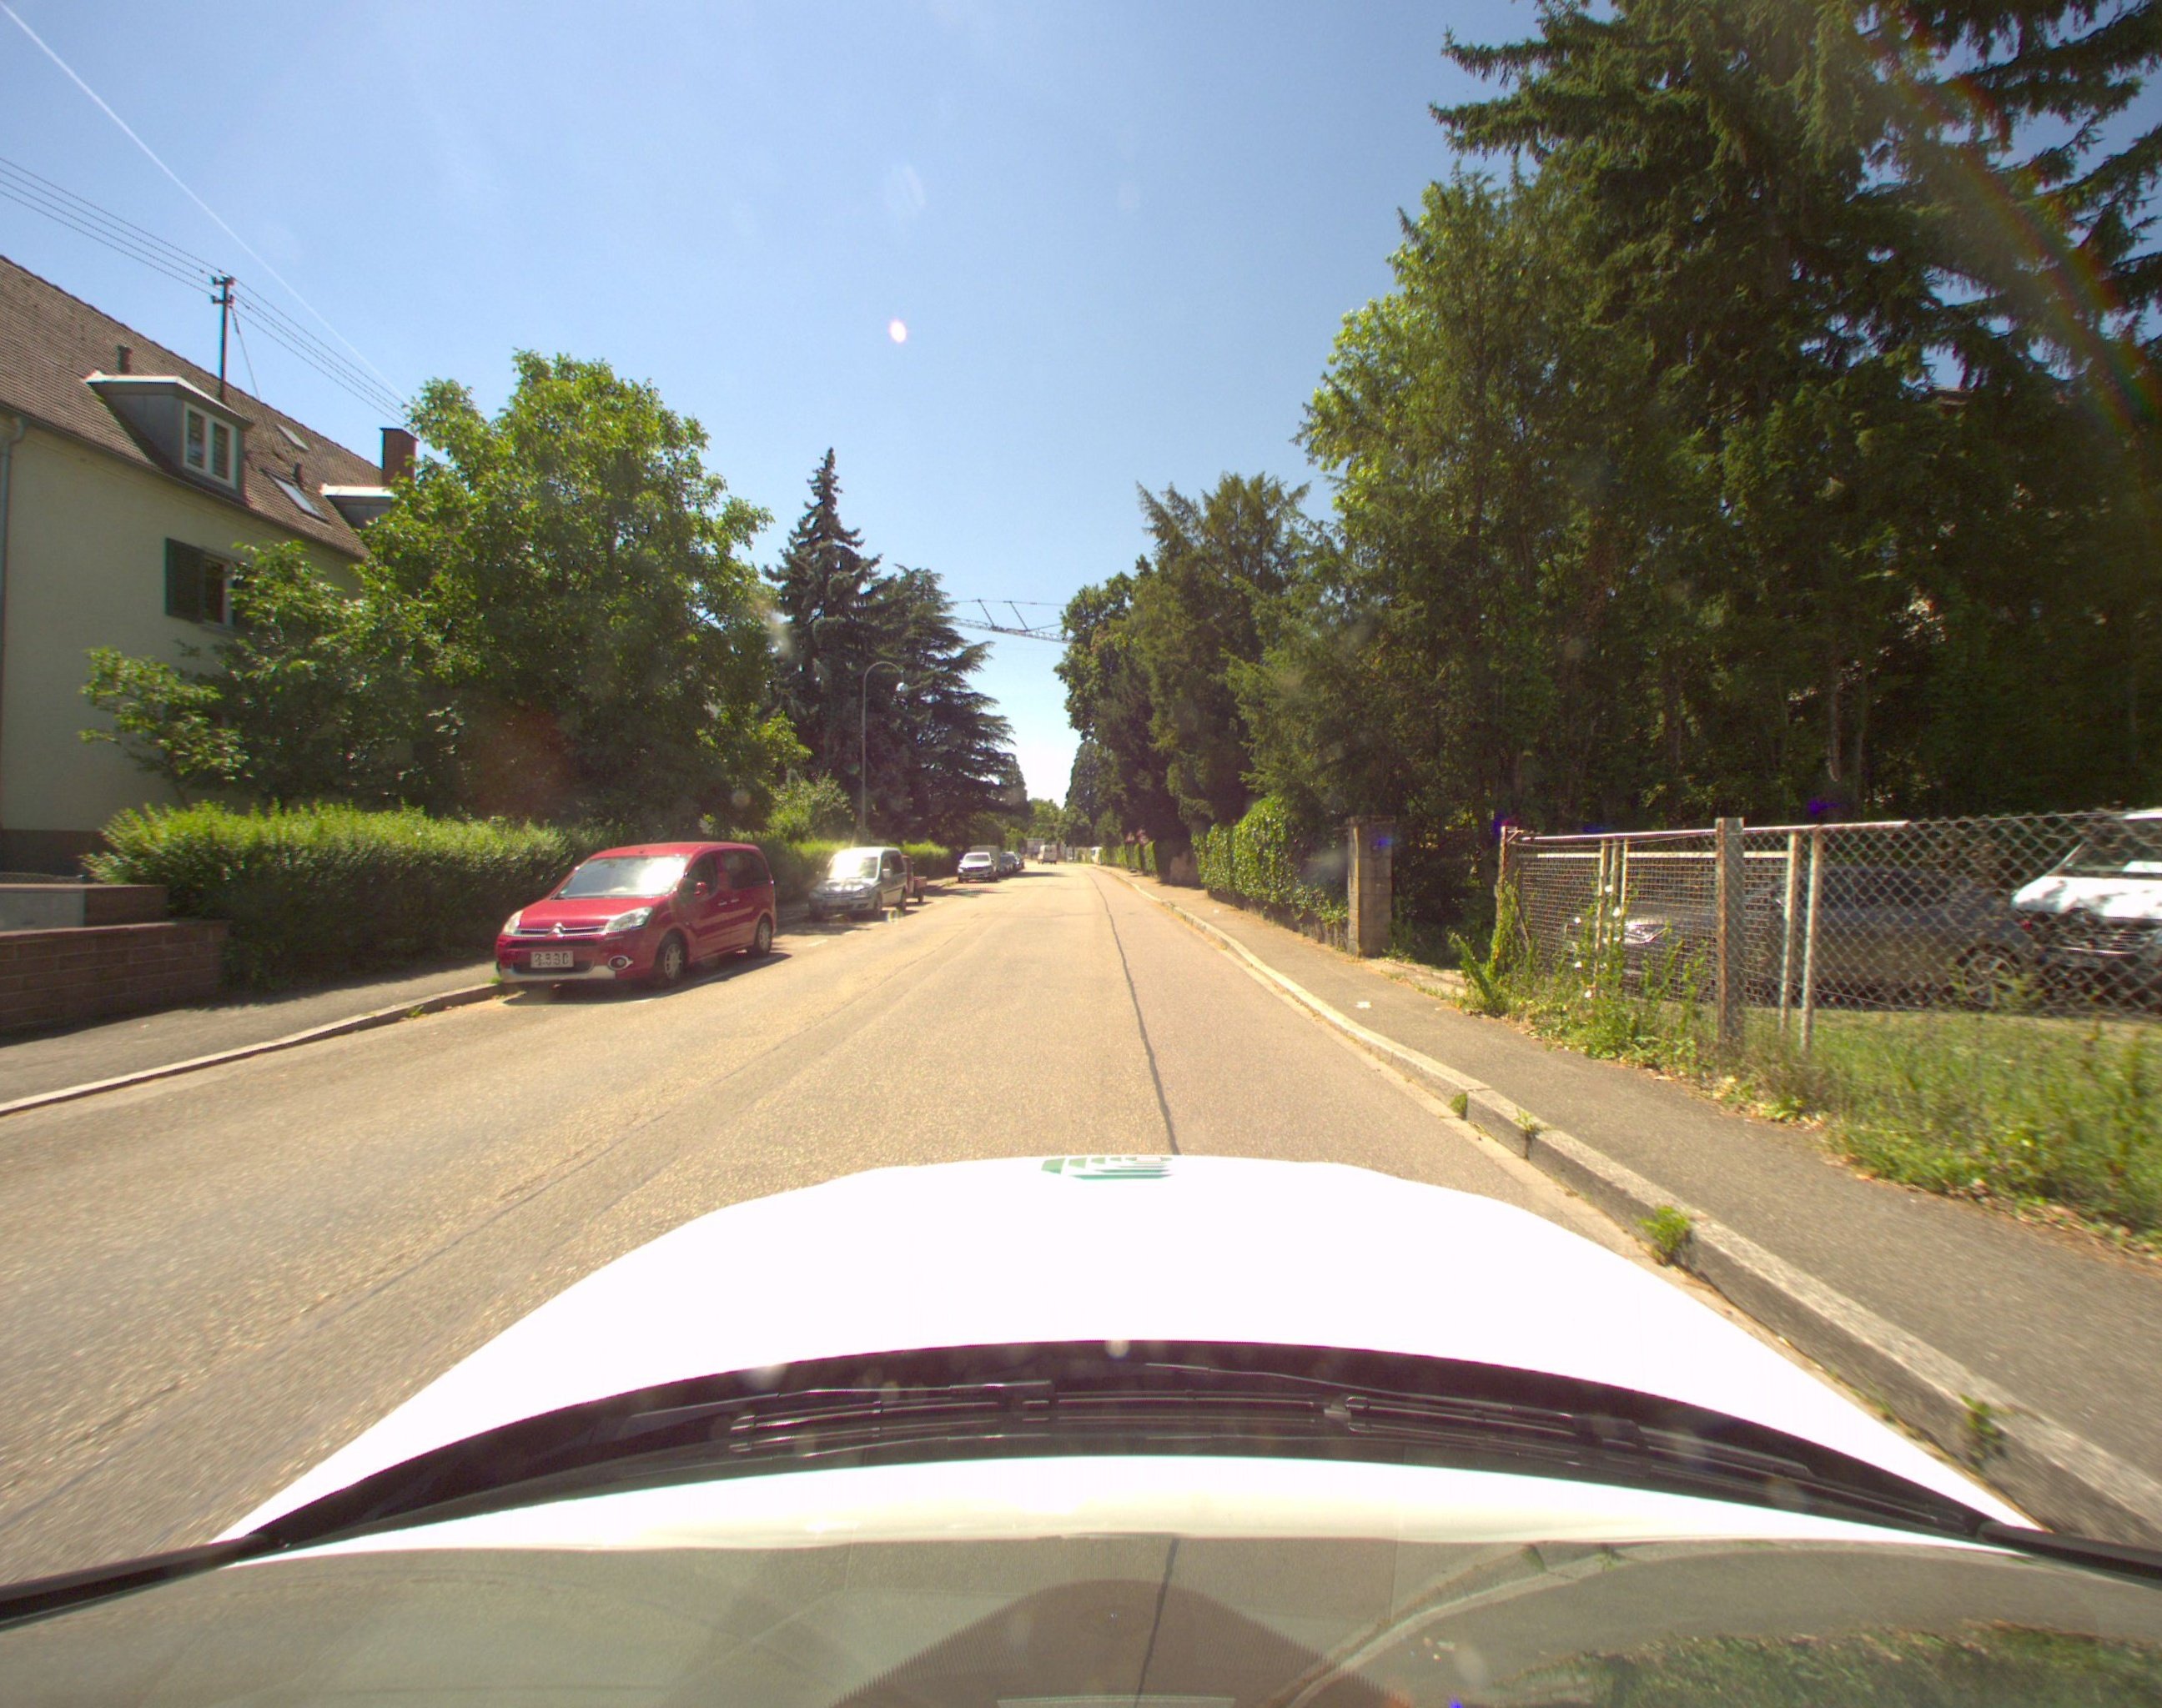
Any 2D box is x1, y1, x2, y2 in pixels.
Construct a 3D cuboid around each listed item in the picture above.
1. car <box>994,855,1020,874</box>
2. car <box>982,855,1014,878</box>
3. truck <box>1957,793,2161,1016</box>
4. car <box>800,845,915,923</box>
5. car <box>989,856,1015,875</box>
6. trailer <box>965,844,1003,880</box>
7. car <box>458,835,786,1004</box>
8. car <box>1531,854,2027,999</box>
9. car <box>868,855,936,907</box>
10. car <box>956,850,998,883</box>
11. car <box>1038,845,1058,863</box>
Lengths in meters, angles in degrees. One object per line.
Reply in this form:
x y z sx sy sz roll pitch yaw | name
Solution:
-6.034 0.833 66.712 1.683 1.444 4.135 -1 0 0 | car
-5.598 0.850 55.442 1.704 1.439 4.321 -2 0 0 | car
13.794 0.577 8.864 6.594 2.167 1.978 2 1 -3 | truck
-5.605 0.697 20.971 1.642 1.752 4.355 -1 0 1 | car
-5.932 0.836 61.485 1.577 1.390 3.882 -1 0 0 | car
-5.845 0.487 49.505 1.843 2.040 4.160 -2 0 -2 | trailer
-5.631 0.689 10.796 1.752 1.727 4.458 -2 0 0 | car
7.312 0.702 8.876 3.845 1.380 1.768 0 0 3 | car
-5.630 0.809 25.911 1.406 1.503 2.841 -2 0 1 | car
-5.689 0.660 45.063 1.846 1.671 4.708 -2 0 -2 | car
-4.577 0.023 112.327 2.143 2.315 4.836 -1 0 -10 | car
